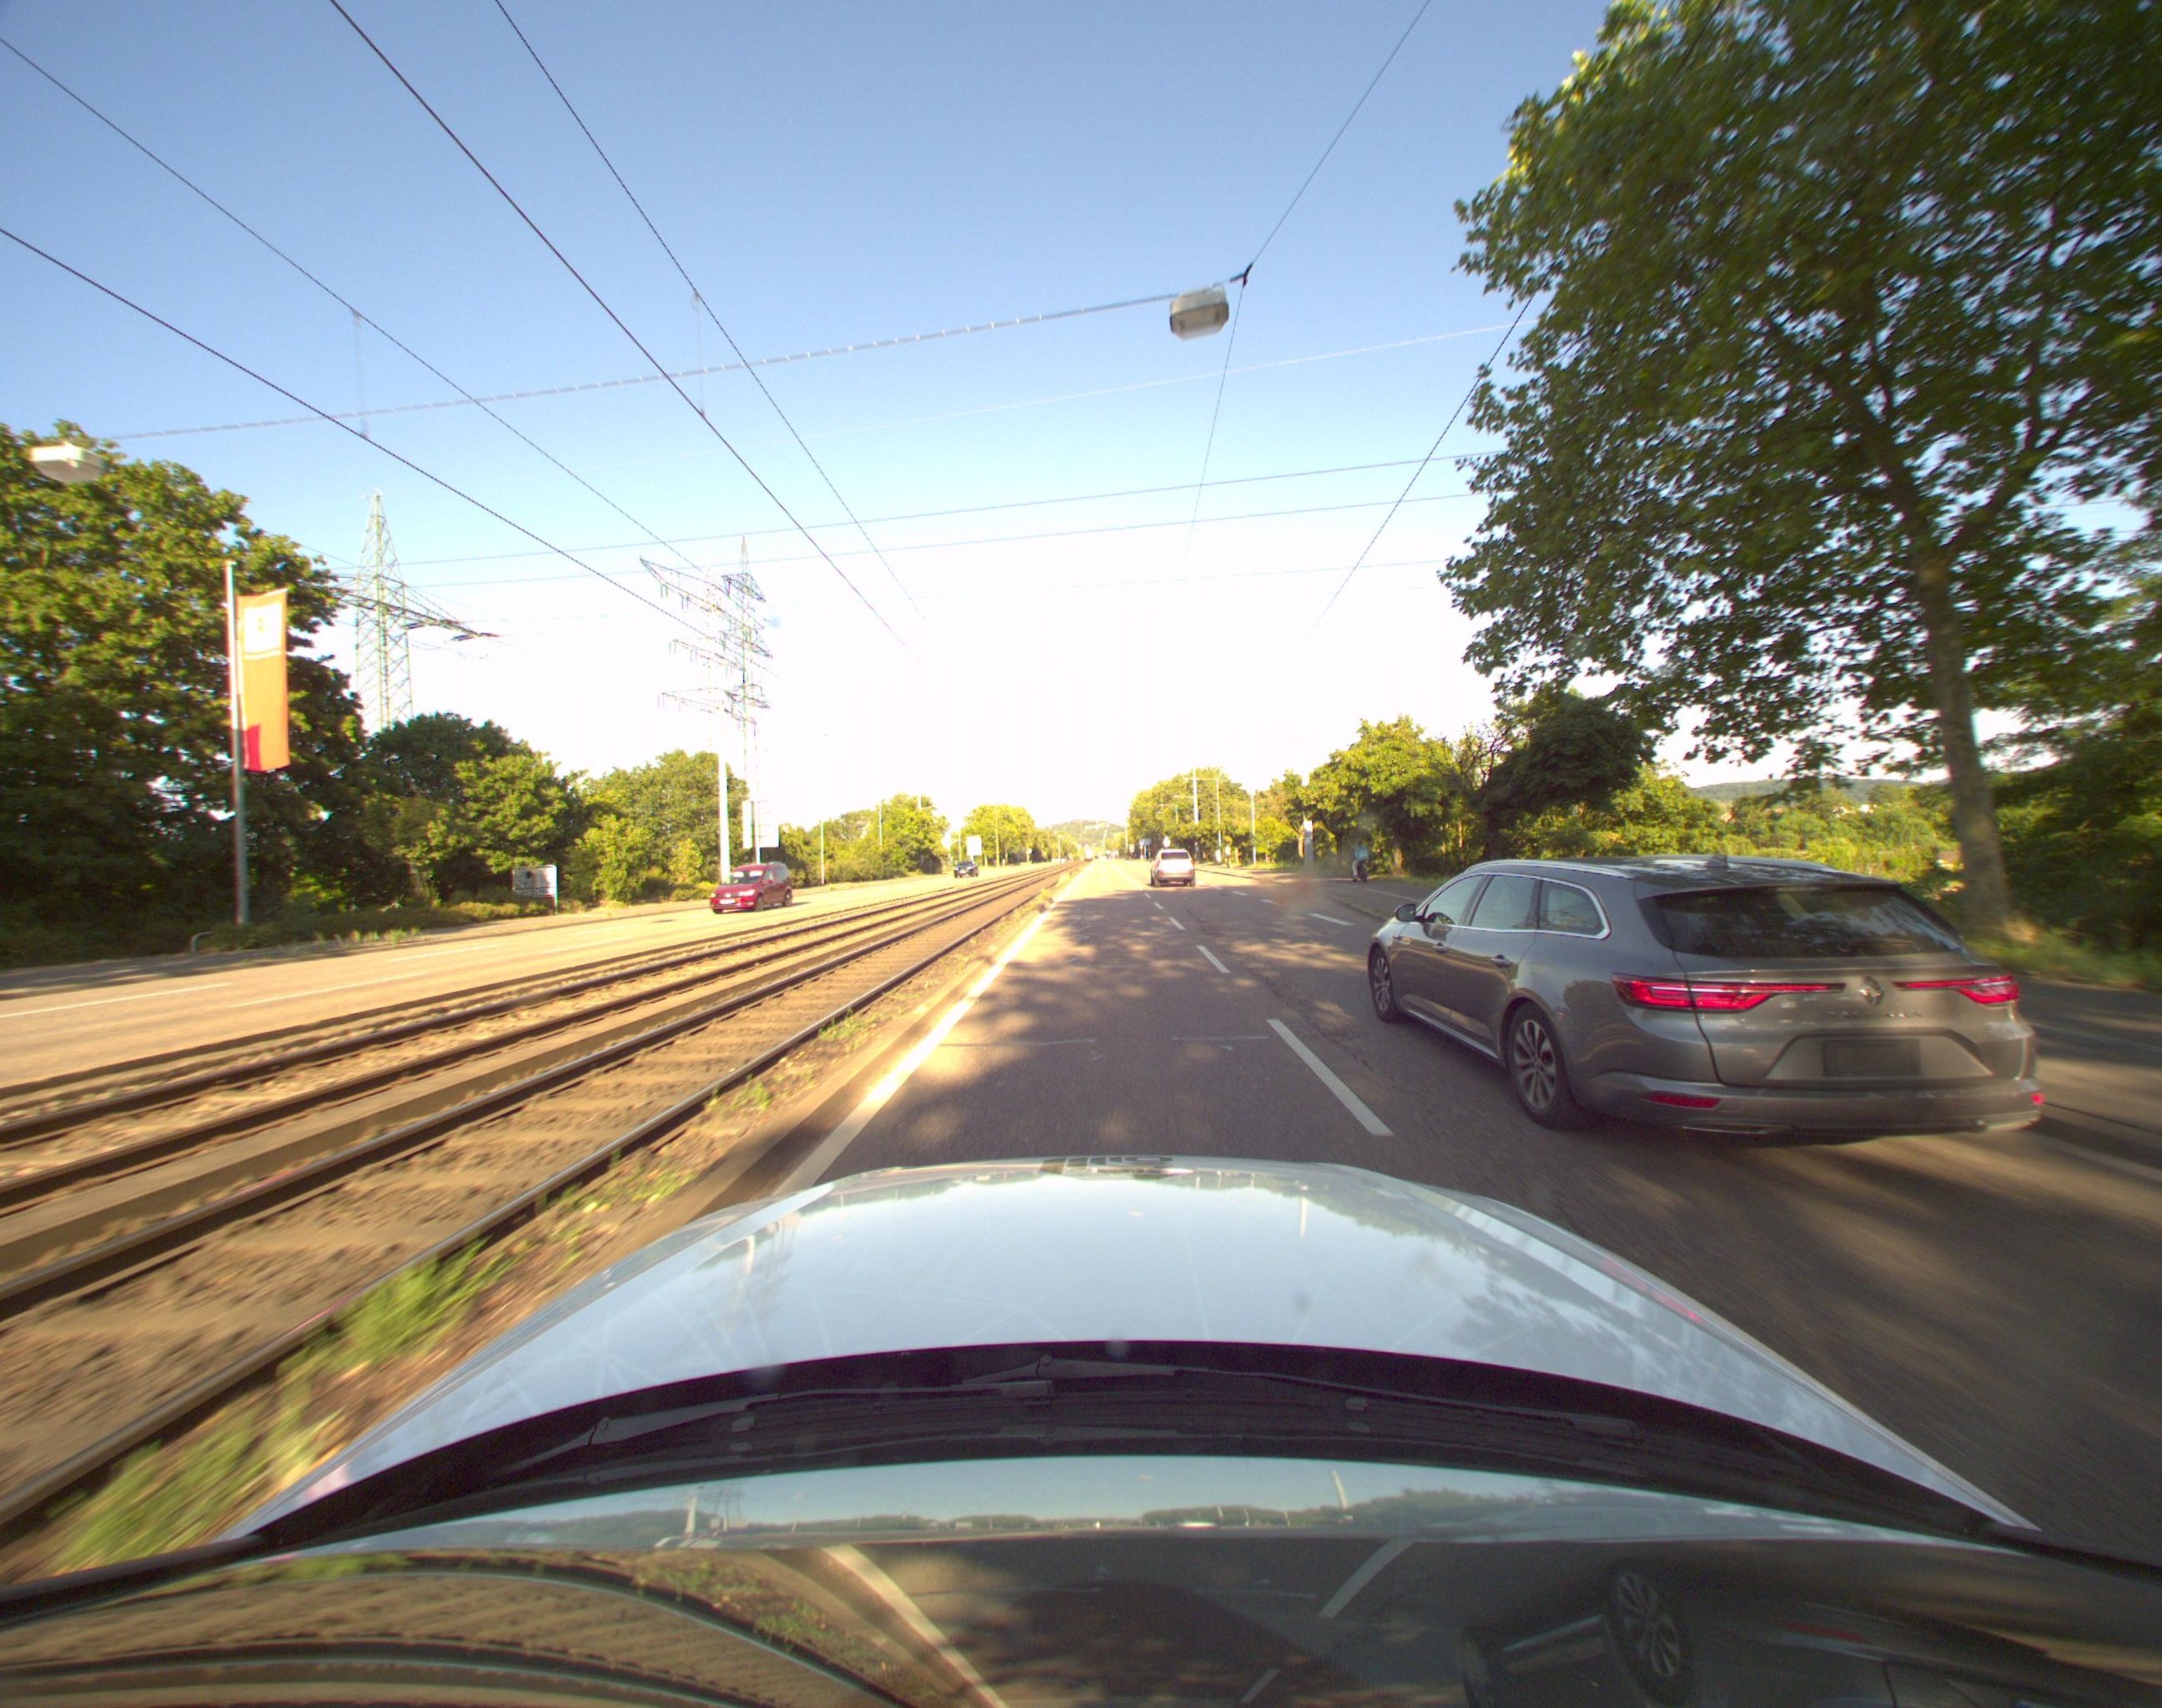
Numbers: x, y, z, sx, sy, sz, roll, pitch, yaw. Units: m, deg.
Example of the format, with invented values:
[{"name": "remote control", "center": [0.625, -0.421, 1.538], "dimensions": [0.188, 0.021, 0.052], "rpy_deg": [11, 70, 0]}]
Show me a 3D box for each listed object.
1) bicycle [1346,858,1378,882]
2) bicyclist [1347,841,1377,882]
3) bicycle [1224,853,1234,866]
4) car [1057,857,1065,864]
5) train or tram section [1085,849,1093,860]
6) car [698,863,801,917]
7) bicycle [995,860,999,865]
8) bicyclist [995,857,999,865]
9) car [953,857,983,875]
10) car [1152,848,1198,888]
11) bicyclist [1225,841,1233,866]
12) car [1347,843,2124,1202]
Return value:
[{"name": "bicycle", "center": [10.637, 0.603, 30.922], "dimensions": [0.624, 0.834, 1.635], "rpy_deg": [-6, -1, 2]}, {"name": "bicyclist", "center": [10.583, 0.284, 30.707], "dimensions": [0.624, 1.471, 1.061], "rpy_deg": [-6, -1, 2]}, {"name": "bicycle", "center": [11.781, 0.445, 65.058], "dimensions": [0.525, 1.060, 1.973], "rpy_deg": [0, -1, 3]}, {"name": "car", "center": [-5.891, 2.062, 243.956], "dimensions": [1.985, 1.923, 4.863], "rpy_deg": [-3, -1, 3]}, {"name": "train or tram section", "center": [2.537, 0.162, 248.150], "dimensions": [2.302, 3.217, 9.477], "rpy_deg": [0, 0, 1]}, {"name": "car", "center": [-12.716, 1.332, 31.579], "dimensions": [1.986, 1.795, 4.351], "rpy_deg": [-3, -1, 2]}, {"name": "bicycle", "center": [-17.579, 1.758, 170.115], "dimensions": [0.588, 1.022, 2.186], "rpy_deg": [-3, -1, 1]}, {"name": "bicyclist", "center": [-17.588, 1.501, 170.265], "dimensions": [0.588, 1.528, 0.906], "rpy_deg": [-3, -1, 0]}, {"name": "car", "center": [-11.091, 1.146, 79.948], "dimensions": [1.985, 1.625, 4.686], "rpy_deg": [-3, -1, 3]}, {"name": "car", "center": [4.320, 0.633, 37.863], "dimensions": [1.880, 1.693, 4.260], "rpy_deg": [-2, -1, 4]}, {"name": "bicyclist", "center": [11.762, -0.043, 64.788], "dimensions": [0.525, 2.017, 0.730], "rpy_deg": [0, -1, 2]}, {"name": "car", "center": [3.448, 0.724, 5.703], "dimensions": [1.868, 1.443, 4.664], "rpy_deg": [-2, -1, 4]}]
